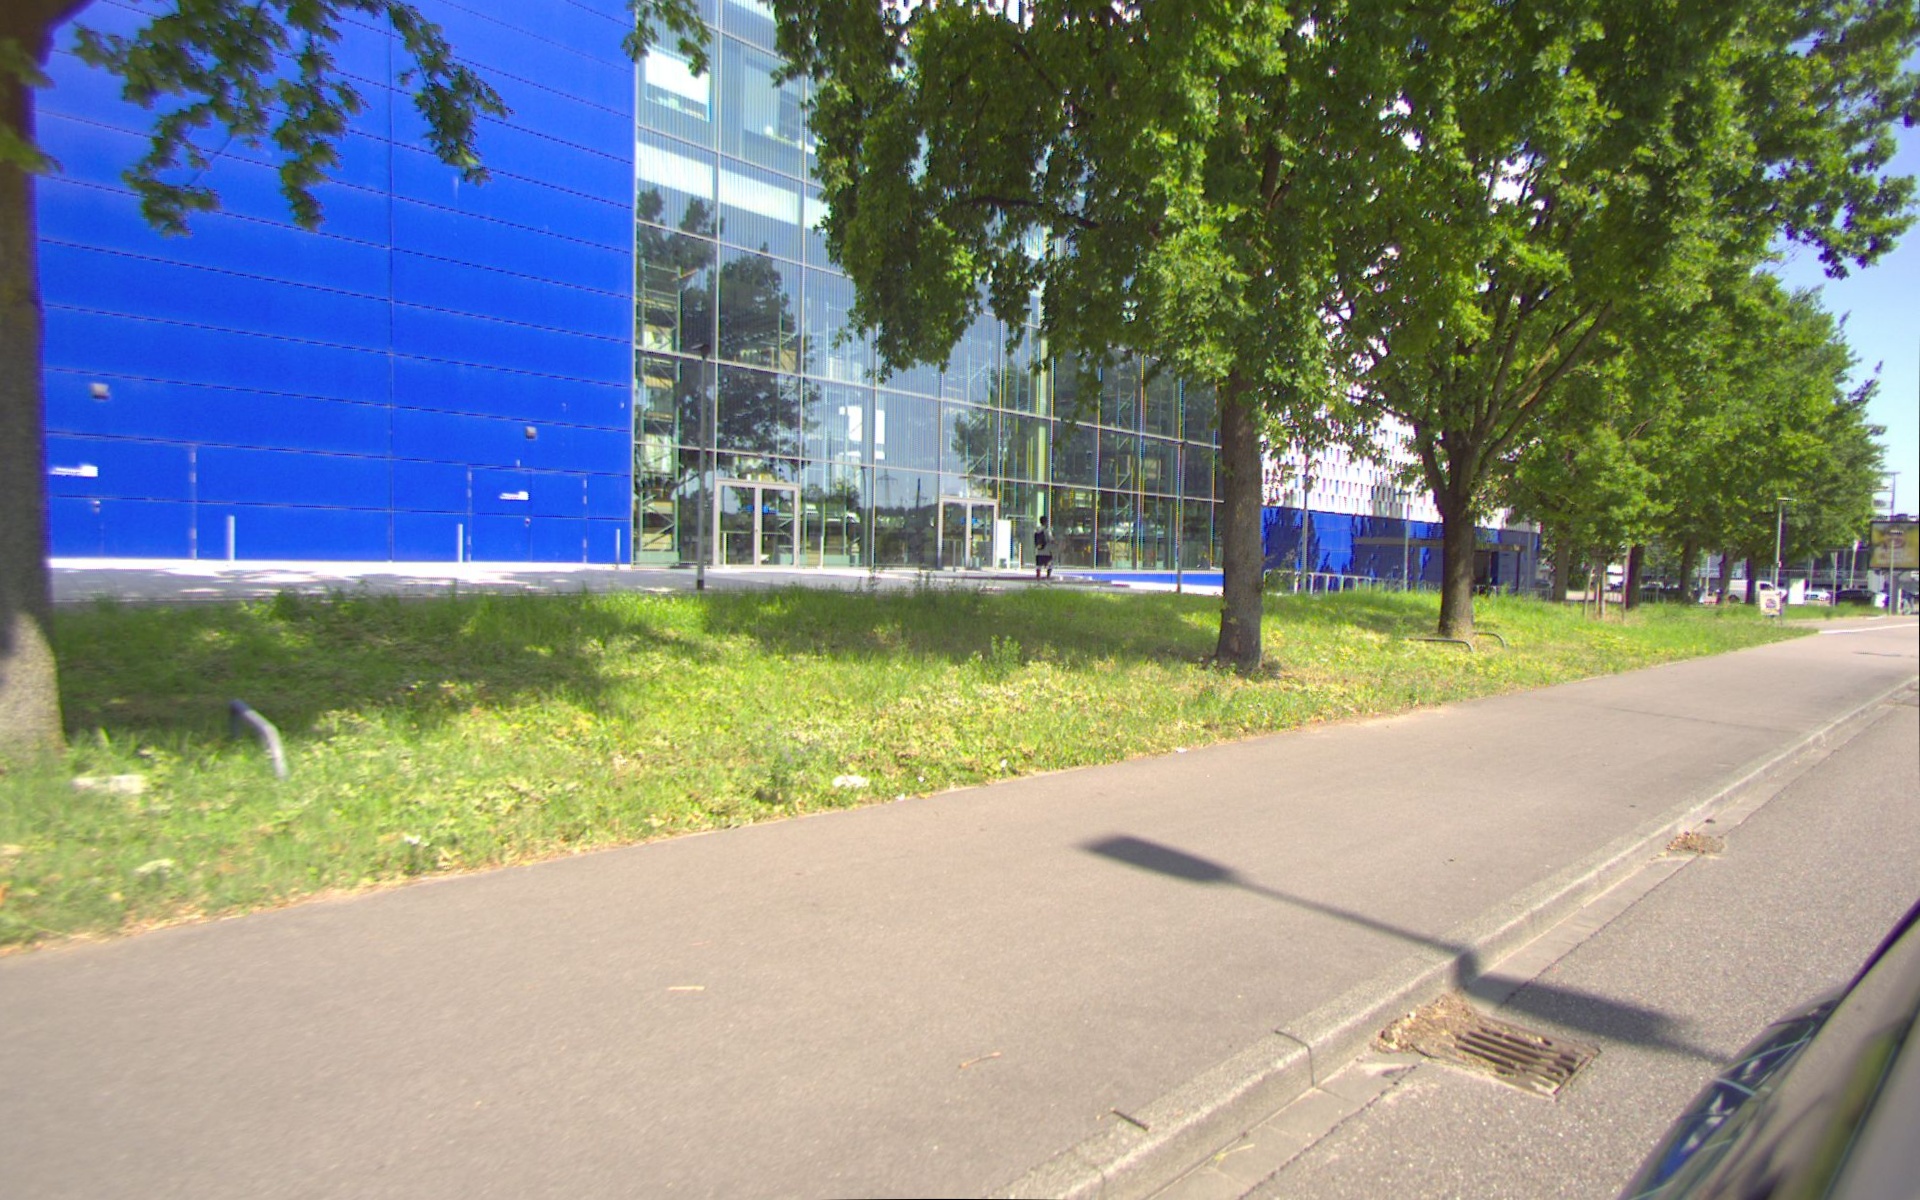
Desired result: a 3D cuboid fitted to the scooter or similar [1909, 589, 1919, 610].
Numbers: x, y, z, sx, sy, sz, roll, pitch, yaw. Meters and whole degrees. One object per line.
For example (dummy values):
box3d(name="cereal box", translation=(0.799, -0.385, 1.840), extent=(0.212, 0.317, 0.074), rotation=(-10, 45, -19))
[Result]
box3d(name="scooter or similar", translation=(55.613, -0.028, 58.696), extent=(1.160, 1.181, 0.403), rotation=(-1, 3, -25))

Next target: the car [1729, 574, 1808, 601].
box3d(name="car", translation=(68.415, -1.077, 85.677), extent=(1.712, 2.031, 4.990), rotation=(-2, 4, -43))

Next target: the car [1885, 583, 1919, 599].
box3d(name="car", translation=(90.319, -0.820, 95.534), extent=(1.791, 1.366, 4.342), rotation=(-1, 3, -44))

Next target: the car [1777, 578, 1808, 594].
box3d(name="car", translation=(83.315, -1.400, 101.245), extent=(2.000, 1.439, 4.047), rotation=(3, 2, 45))

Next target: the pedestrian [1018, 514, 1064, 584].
box3d(name="pedestrian", translation=(1.928, -1.212, 24.072), extent=(0.688, 1.631, 0.759), rotation=(4, 3, 44))
